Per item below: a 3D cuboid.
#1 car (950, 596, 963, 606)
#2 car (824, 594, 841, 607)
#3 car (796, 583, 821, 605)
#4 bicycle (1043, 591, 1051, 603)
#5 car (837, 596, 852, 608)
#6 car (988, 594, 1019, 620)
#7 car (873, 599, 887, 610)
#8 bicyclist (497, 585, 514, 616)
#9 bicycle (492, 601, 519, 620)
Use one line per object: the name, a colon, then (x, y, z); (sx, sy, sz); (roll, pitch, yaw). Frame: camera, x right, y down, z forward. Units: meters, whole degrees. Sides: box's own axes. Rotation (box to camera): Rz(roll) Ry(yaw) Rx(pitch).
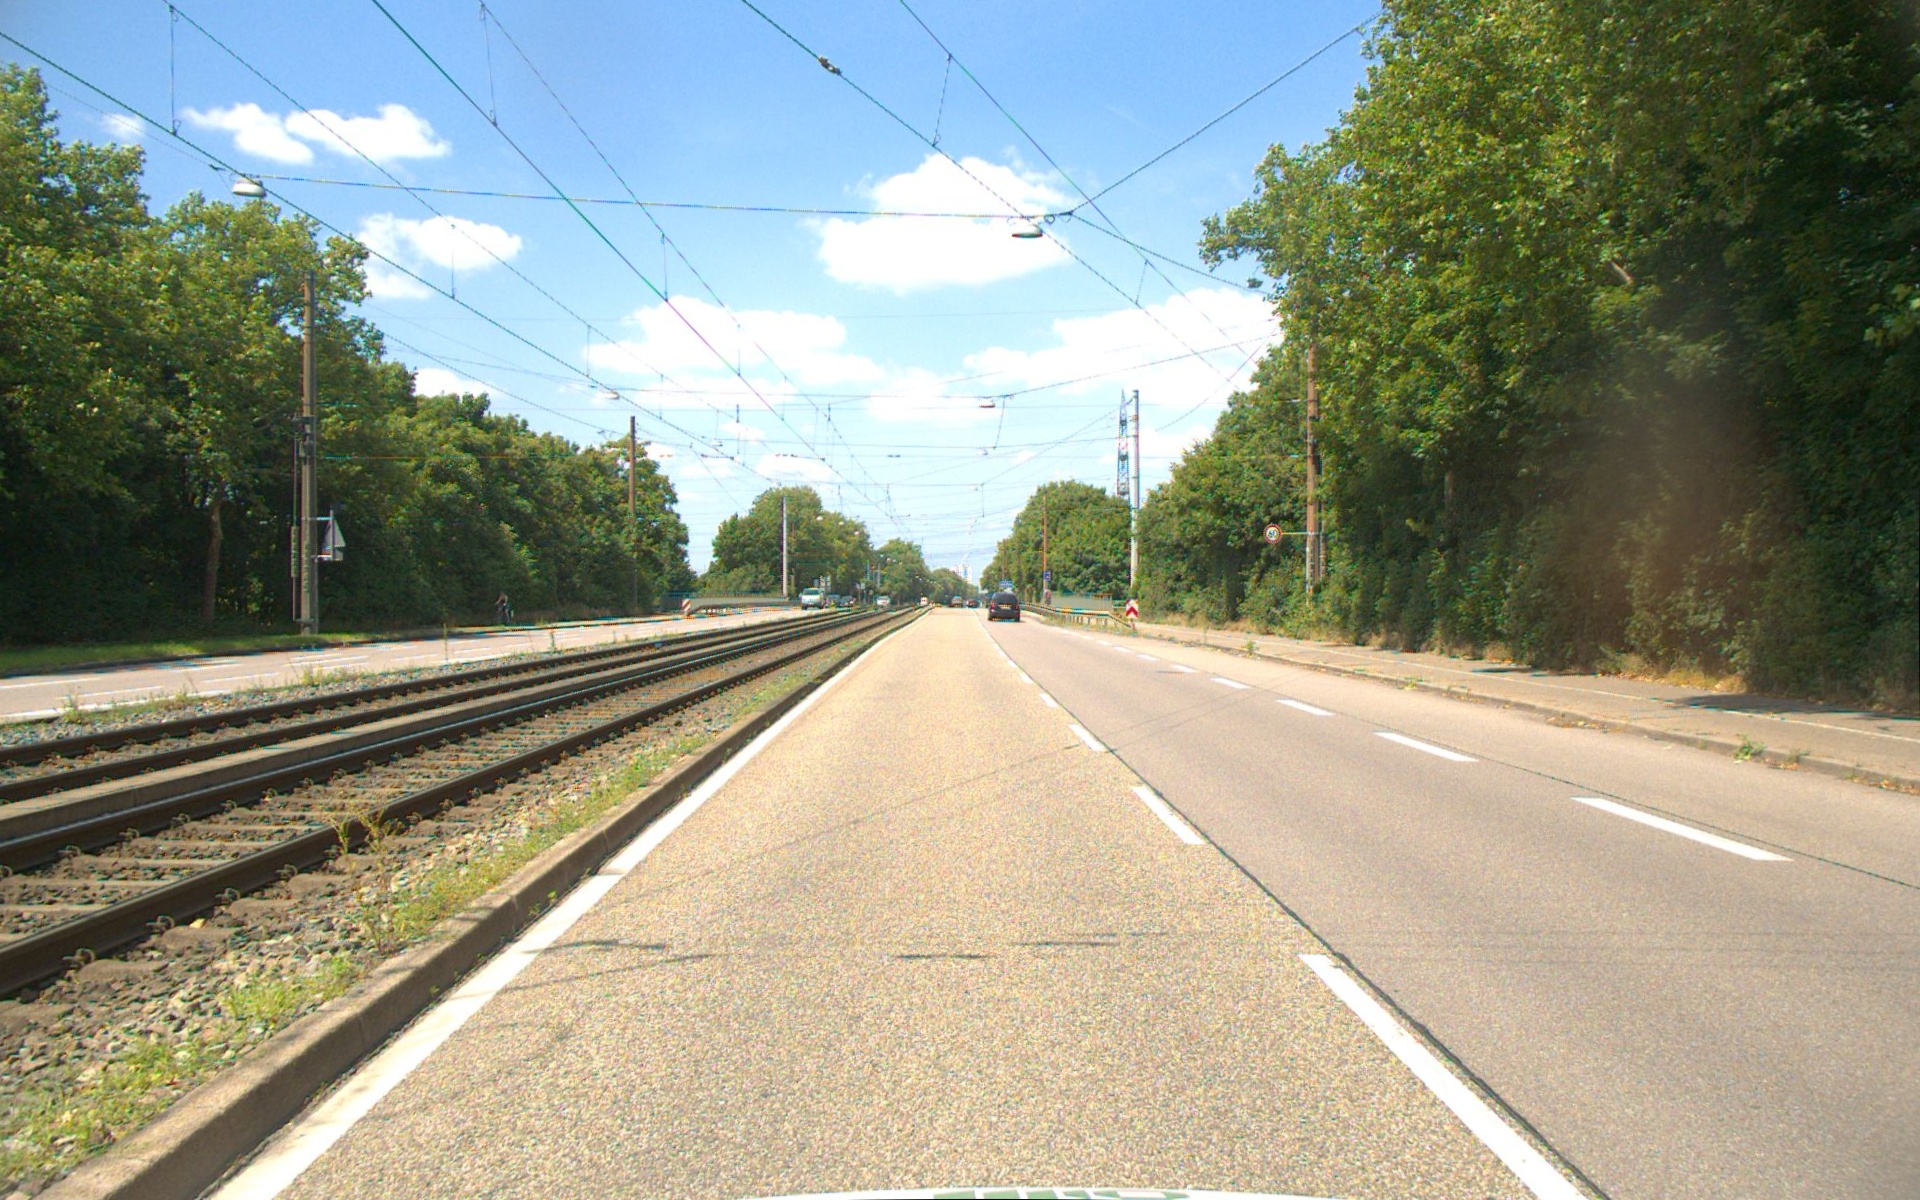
car: (-0.541, 0.130, 260.266); (1.953, 1.557, 3.999); (1, 0, -1)
car: (-14.071, 0.060, 182.873); (1.531, 1.371, 3.929); (-1, 0, 0)
car: (-14.009, -0.514, 153.211); (1.774, 1.959, 5.179); (-1, 0, 0)
bicycle: (7.270, -0.259, 138.215); (0.548, 1.042, 1.848); (0, 0, 0)
car: (-14.209, 0.206, 203.531); (1.542, 1.424, 3.937); (0, 0, 0)
car: (2.375, 0.383, 91.803); (1.554, 1.366, 3.271); (0, 0, -1)
car: (-11.070, 0.669, 228.127); (1.676, 1.445, 4.624); (-1, 0, 0)
bicyclist: (-20.906, 0.013, 76.155); (0.557, 1.391, 0.631); (2, -1, 1)
bicycle: (-20.916, 0.482, 76.133); (0.574, 0.833, 2.069); (-1, 0, 2)
